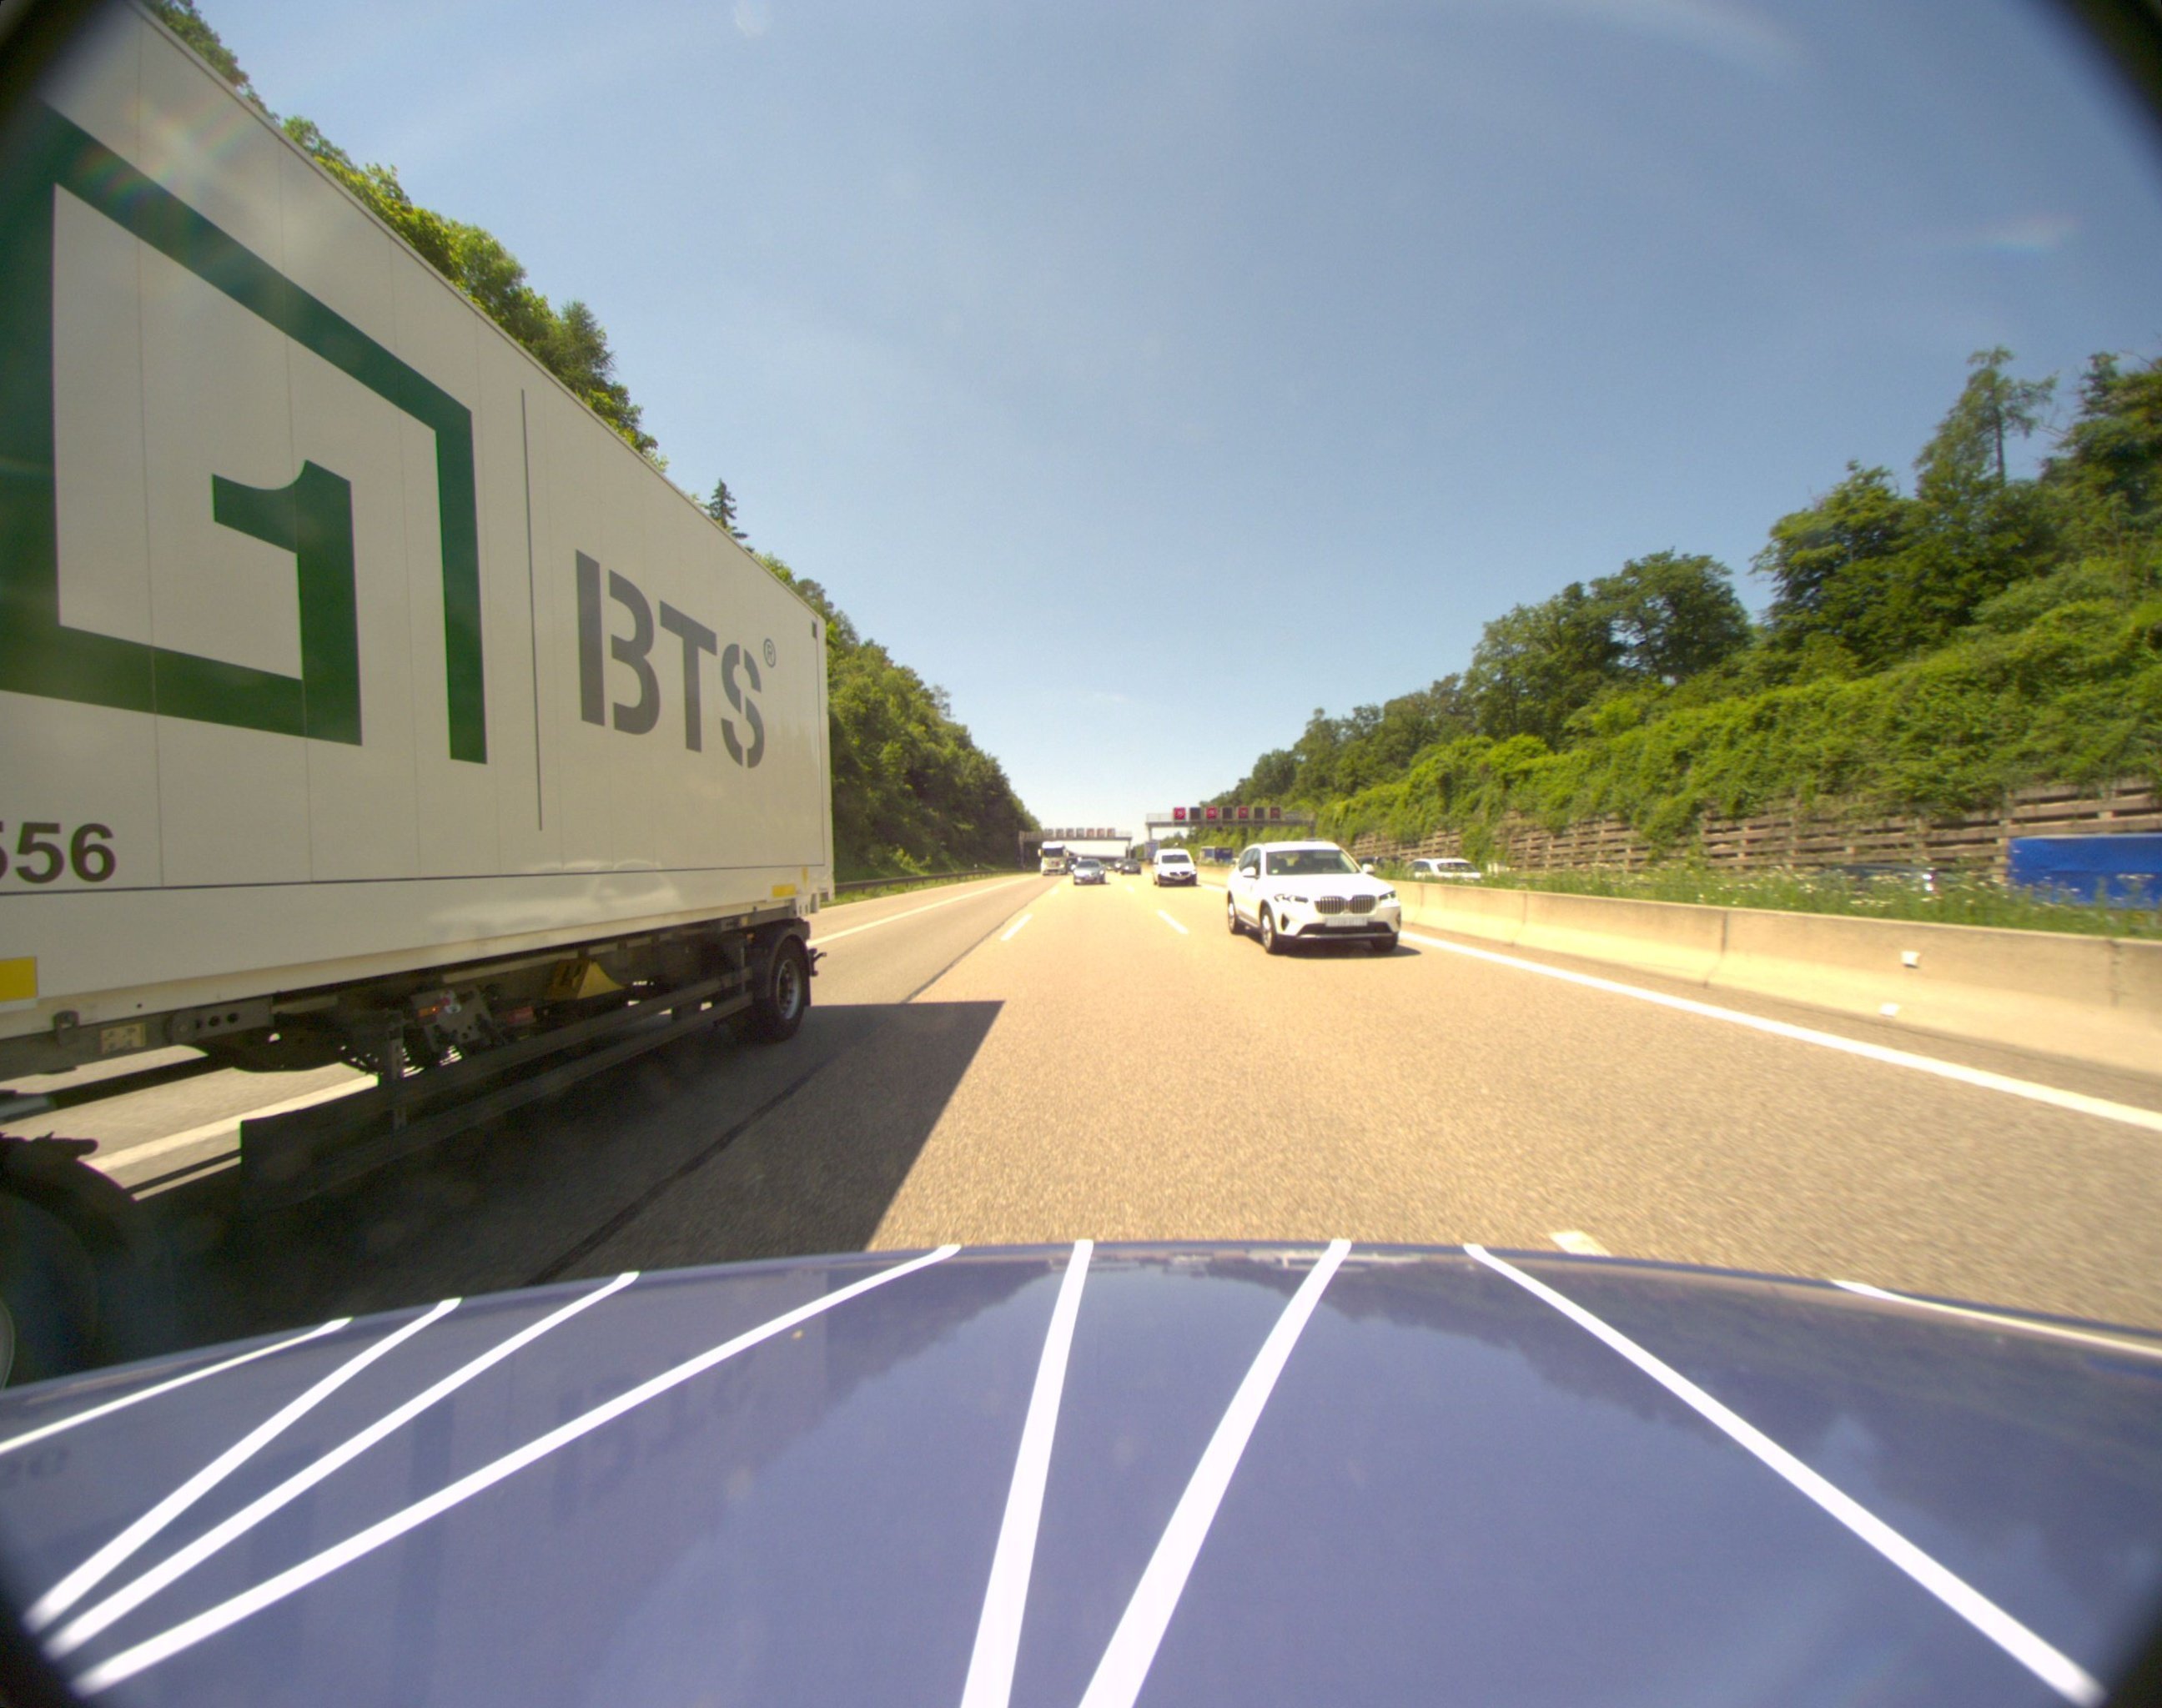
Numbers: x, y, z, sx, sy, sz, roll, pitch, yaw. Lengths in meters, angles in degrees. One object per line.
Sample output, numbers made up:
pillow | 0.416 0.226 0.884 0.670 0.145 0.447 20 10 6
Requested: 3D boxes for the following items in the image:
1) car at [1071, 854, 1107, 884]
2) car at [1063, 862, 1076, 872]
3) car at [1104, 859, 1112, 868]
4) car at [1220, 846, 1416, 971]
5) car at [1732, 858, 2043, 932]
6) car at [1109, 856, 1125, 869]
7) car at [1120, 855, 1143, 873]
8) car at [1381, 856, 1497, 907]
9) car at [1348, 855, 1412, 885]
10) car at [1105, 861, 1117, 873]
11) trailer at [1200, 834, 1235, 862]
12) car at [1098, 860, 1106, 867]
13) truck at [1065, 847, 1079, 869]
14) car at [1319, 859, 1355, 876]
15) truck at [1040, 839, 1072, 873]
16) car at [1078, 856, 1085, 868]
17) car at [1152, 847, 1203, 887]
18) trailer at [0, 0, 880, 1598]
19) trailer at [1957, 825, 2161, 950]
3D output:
car | 0.519 0.848 43.777 1.843 1.517 4.502 -3 -1 2
car | -1.741 1.988 115.464 1.770 1.504 4.000 -3 -1 0
car | 6.377 2.207 179.540 1.924 1.848 4.001 -3 -1 2
car | 3.613 0.729 12.504 1.850 1.634 4.368 -2 0 0
car | 19.210 0.881 18.634 1.942 1.513 5.476 0 0 2
car | 4.494 1.119 95.229 1.770 1.504 4.000 -3 -1 0
car | 4.660 0.911 71.028 1.770 1.504 4.726 -3 -1 0
car | 11.629 0.829 24.998 1.793 1.513 4.202 0 0 -1
car | 15.580 0.804 39.778 1.792 1.513 4.204 0 0 2
car | 5.176 2.197 130.425 1.924 1.848 4.001 -3 -1 2
trailer | 20.556 -0.777 115.344 2.687 3.991 14.190 -1 -1 0
car | 5.723 2.592 205.927 1.924 1.848 4.001 -3 -1 2
truck | -1.823 0.968 161.969 2.627 4.364 13.089 -3 -1 0
car | 23.374 1.215 69.583 1.942 1.513 4.203 0 0 0
truck | -2.700 0.288 86.630 2.844 3.517 13.089 -3 -1 0
car | 0.131 2.342 231.169 1.924 3.522 4.825 -3 -1 2
car | 4.672 0.625 37.355 1.998 1.764 4.502 -3 -1 2
trailer | -3.879 -0.284 4.132 2.687 4.151 10.066 -2 -1 1
trailer | 19.173 0.565 14.074 1.900 2.104 3.495 0 0 2
